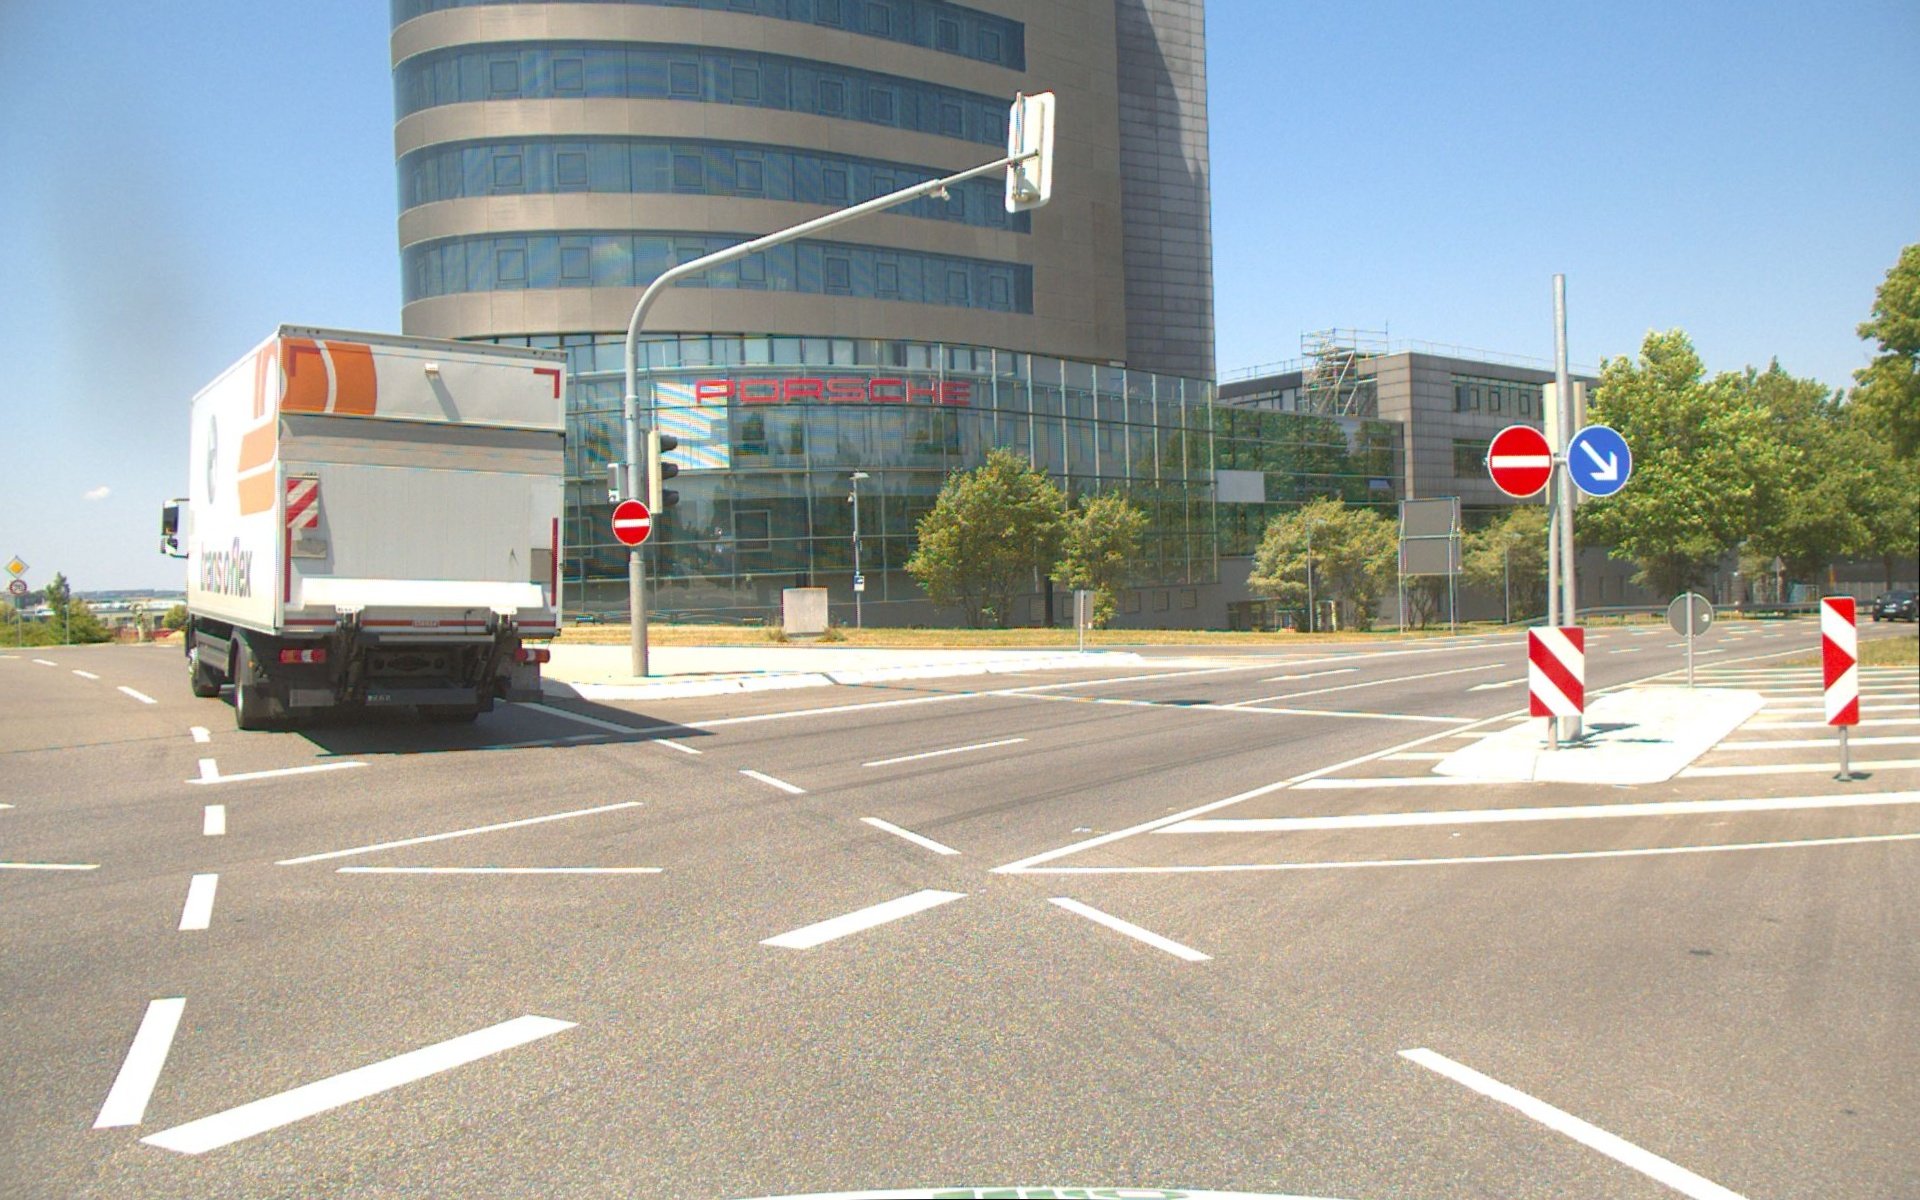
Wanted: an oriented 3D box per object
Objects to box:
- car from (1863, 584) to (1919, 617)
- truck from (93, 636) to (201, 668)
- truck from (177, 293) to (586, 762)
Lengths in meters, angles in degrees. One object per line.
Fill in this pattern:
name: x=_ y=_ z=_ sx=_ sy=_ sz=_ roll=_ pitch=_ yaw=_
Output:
car: x=45.724 y=0.012 z=81.082 sx=1.638 sy=1.617 sz=3.973 roll=0 pitch=0 yaw=43
truck: x=-87.451 y=5.588 z=178.045 sx=10.179 sy=3.276 sz=2.450 roll=0 pitch=0 yaw=-12
truck: x=-6.920 y=-0.652 z=18.603 sx=2.740 sy=3.927 sz=9.276 roll=0 pitch=1 yaw=-30
